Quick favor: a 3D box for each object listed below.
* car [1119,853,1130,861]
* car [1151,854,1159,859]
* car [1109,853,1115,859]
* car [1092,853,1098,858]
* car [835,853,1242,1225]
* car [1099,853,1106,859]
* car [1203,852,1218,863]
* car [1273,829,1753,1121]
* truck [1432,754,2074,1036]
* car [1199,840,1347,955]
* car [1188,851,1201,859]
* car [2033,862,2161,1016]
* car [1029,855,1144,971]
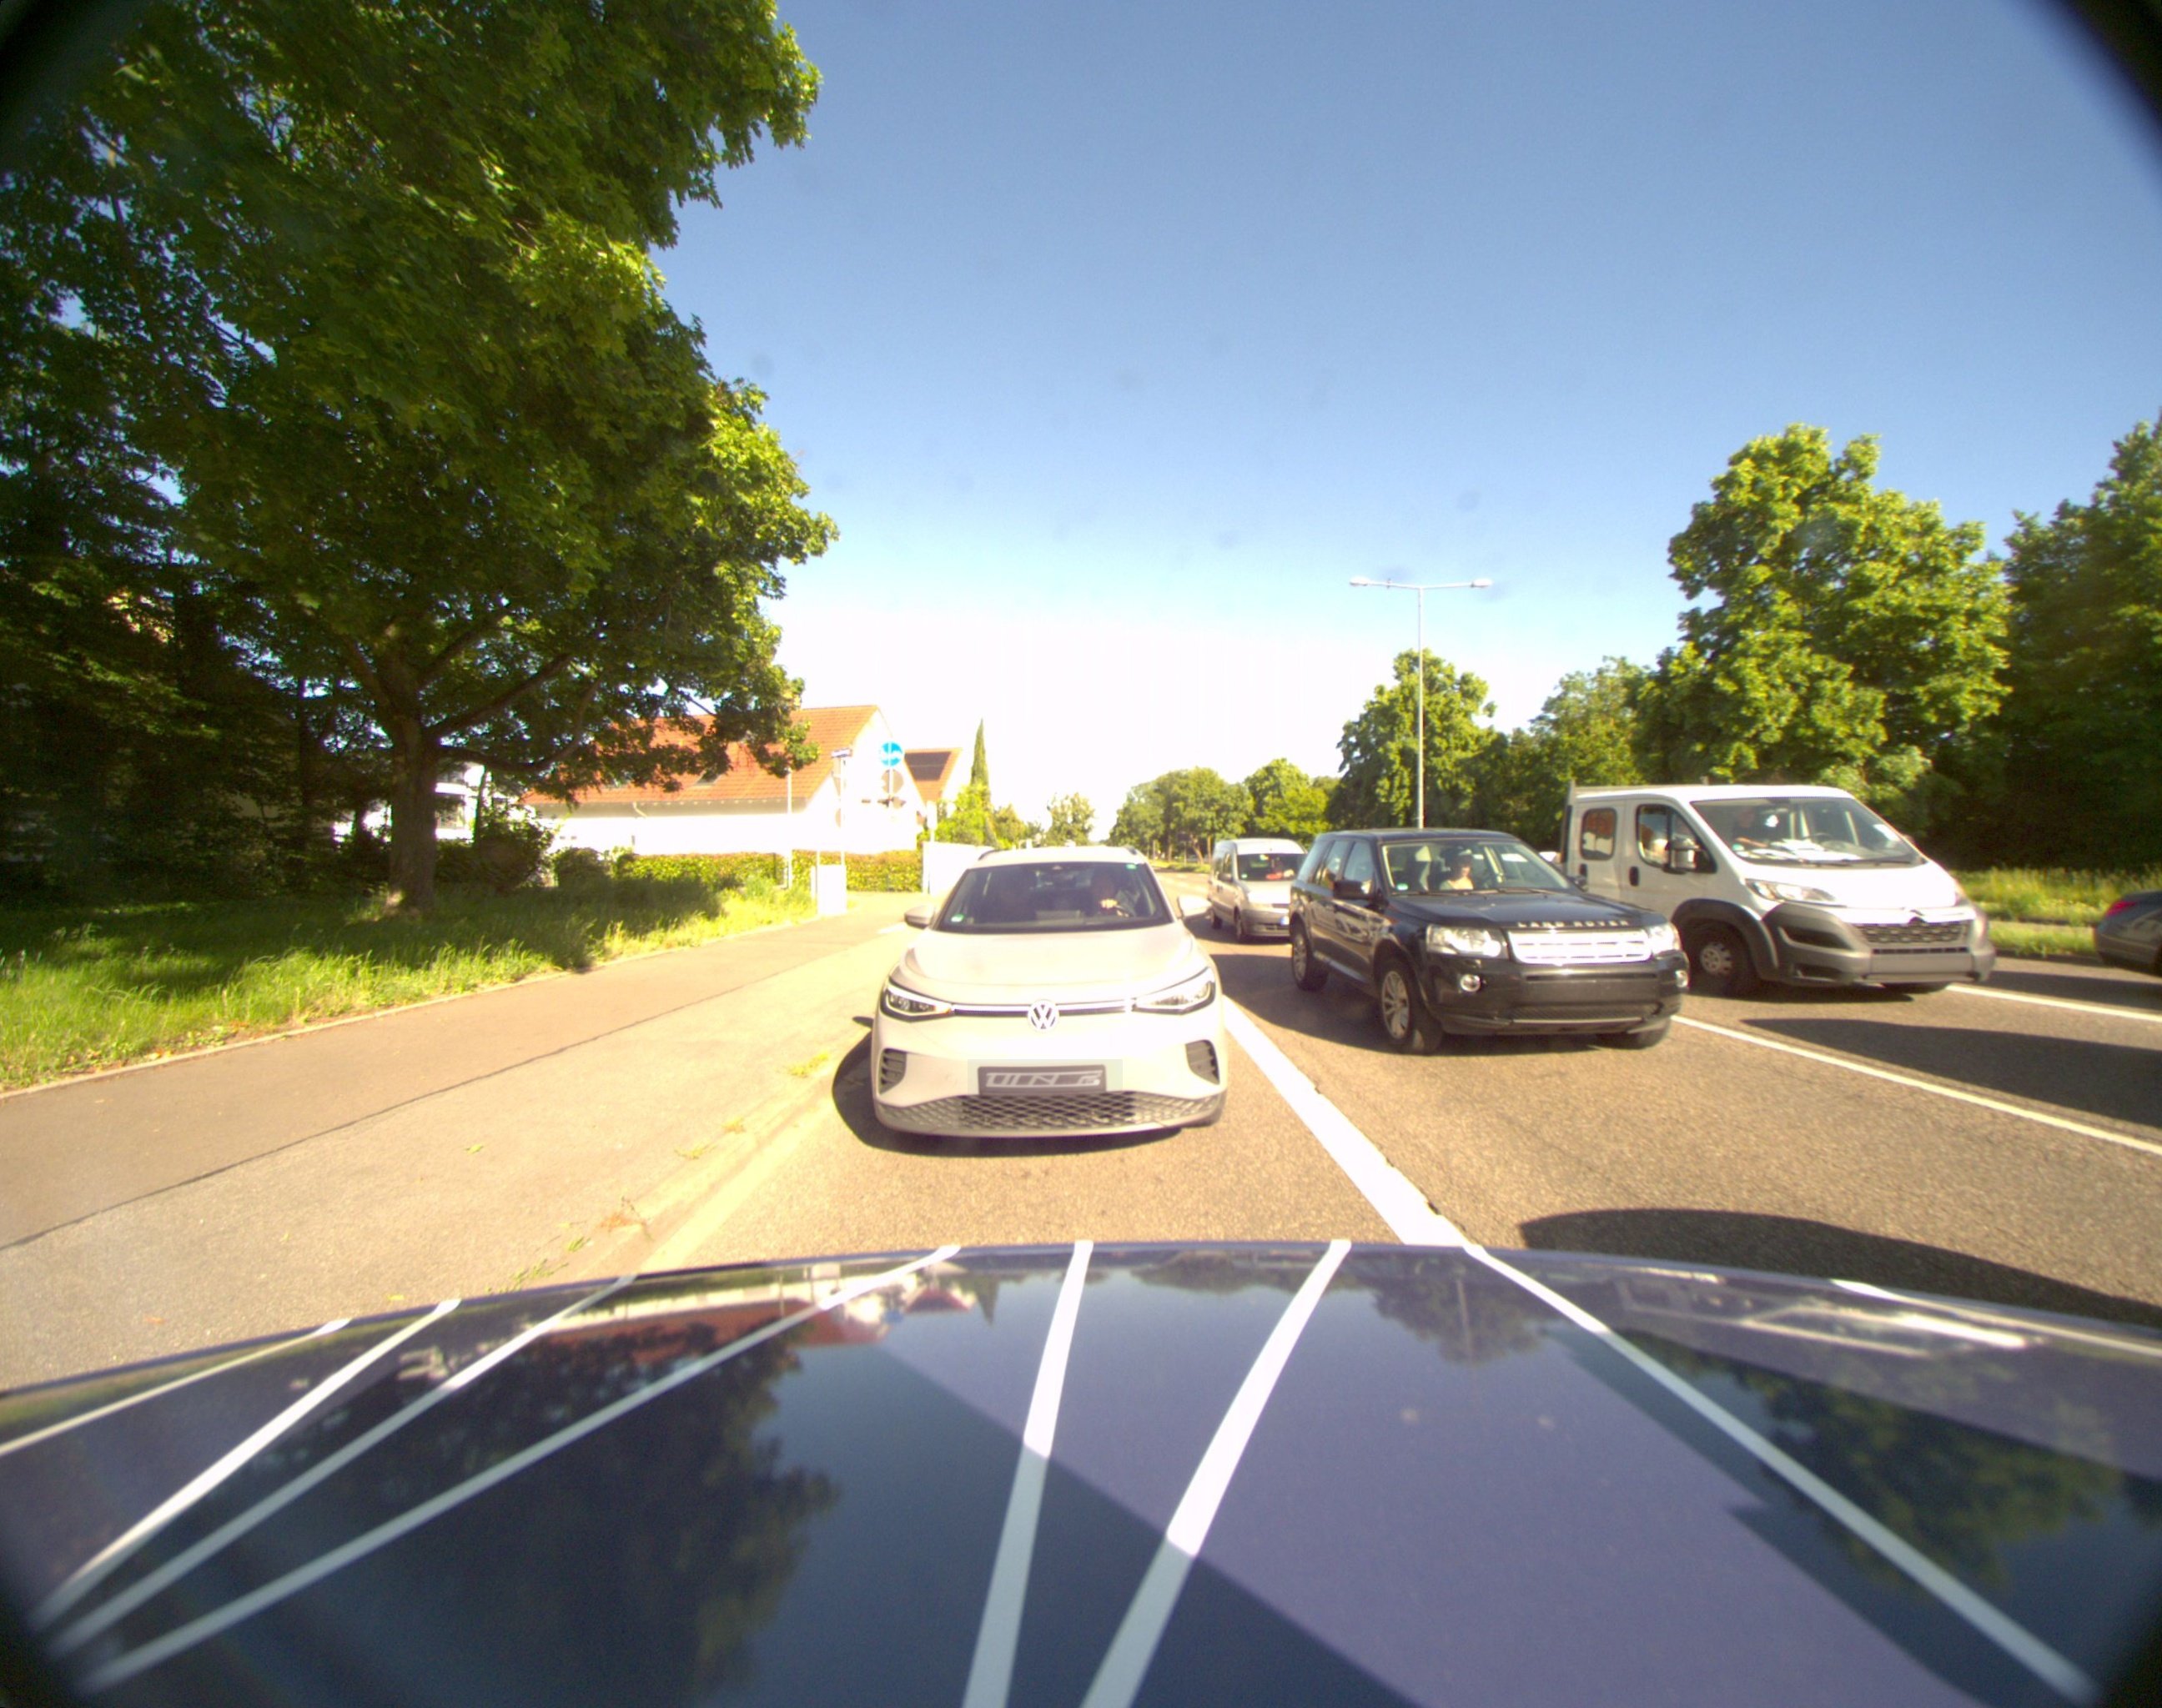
[{"bbox_3d":[7.932,0.560,139.574,1.704,1.466,3.931,-1,0,0],"label":"car"},{"bbox_3d":[20.736,0.694,212.674,1.792,1.409,4.000,0,0,1],"label":"car"},{"bbox_3d":[8.562,0.528,209.581,1.726,1.436,4.000,0,0,0],"label":"car"},{"bbox_3d":[4.227,0.559,234.580,1.726,1.630,4.000,0,0,1],"label":"car"},{"bbox_3d":[-0.169,0.845,5.584,1.858,1.679,4.206,0,1,1],"label":"car"},{"bbox_3d":[5.127,0.533,178.914,1.704,1.466,3.931,0,0,1],"label":"car"},{"bbox_3d":[20.141,0.485,118.222,1.792,1.674,4.000,0,0,1],"label":"car"},{"bbox_3d":[3.167,0.711,6.779,1.816,1.721,4.386,-2,1,1],"label":"car"},{"bbox_3d":[7.215,0.306,9.777,2.185,2.307,6.842,-2,1,0],"label":"truck"},{"bbox_3d":[3.326,0.649,13.974,1.632,1.741,4.386,-2,1,1],"label":"car"},{"bbox_3d":[20.438,0.192,136.806,1.792,1.409,4.000,0,0,1],"label":"car"},{"bbox_3d":[10.811,0.810,5.684,1.816,1.382,4.385,1,1,-1],"label":"car"},{"bbox_3d":[0.110,0.862,13.028,1.632,1.586,4.024,-2,1,1],"label":"car"}]
